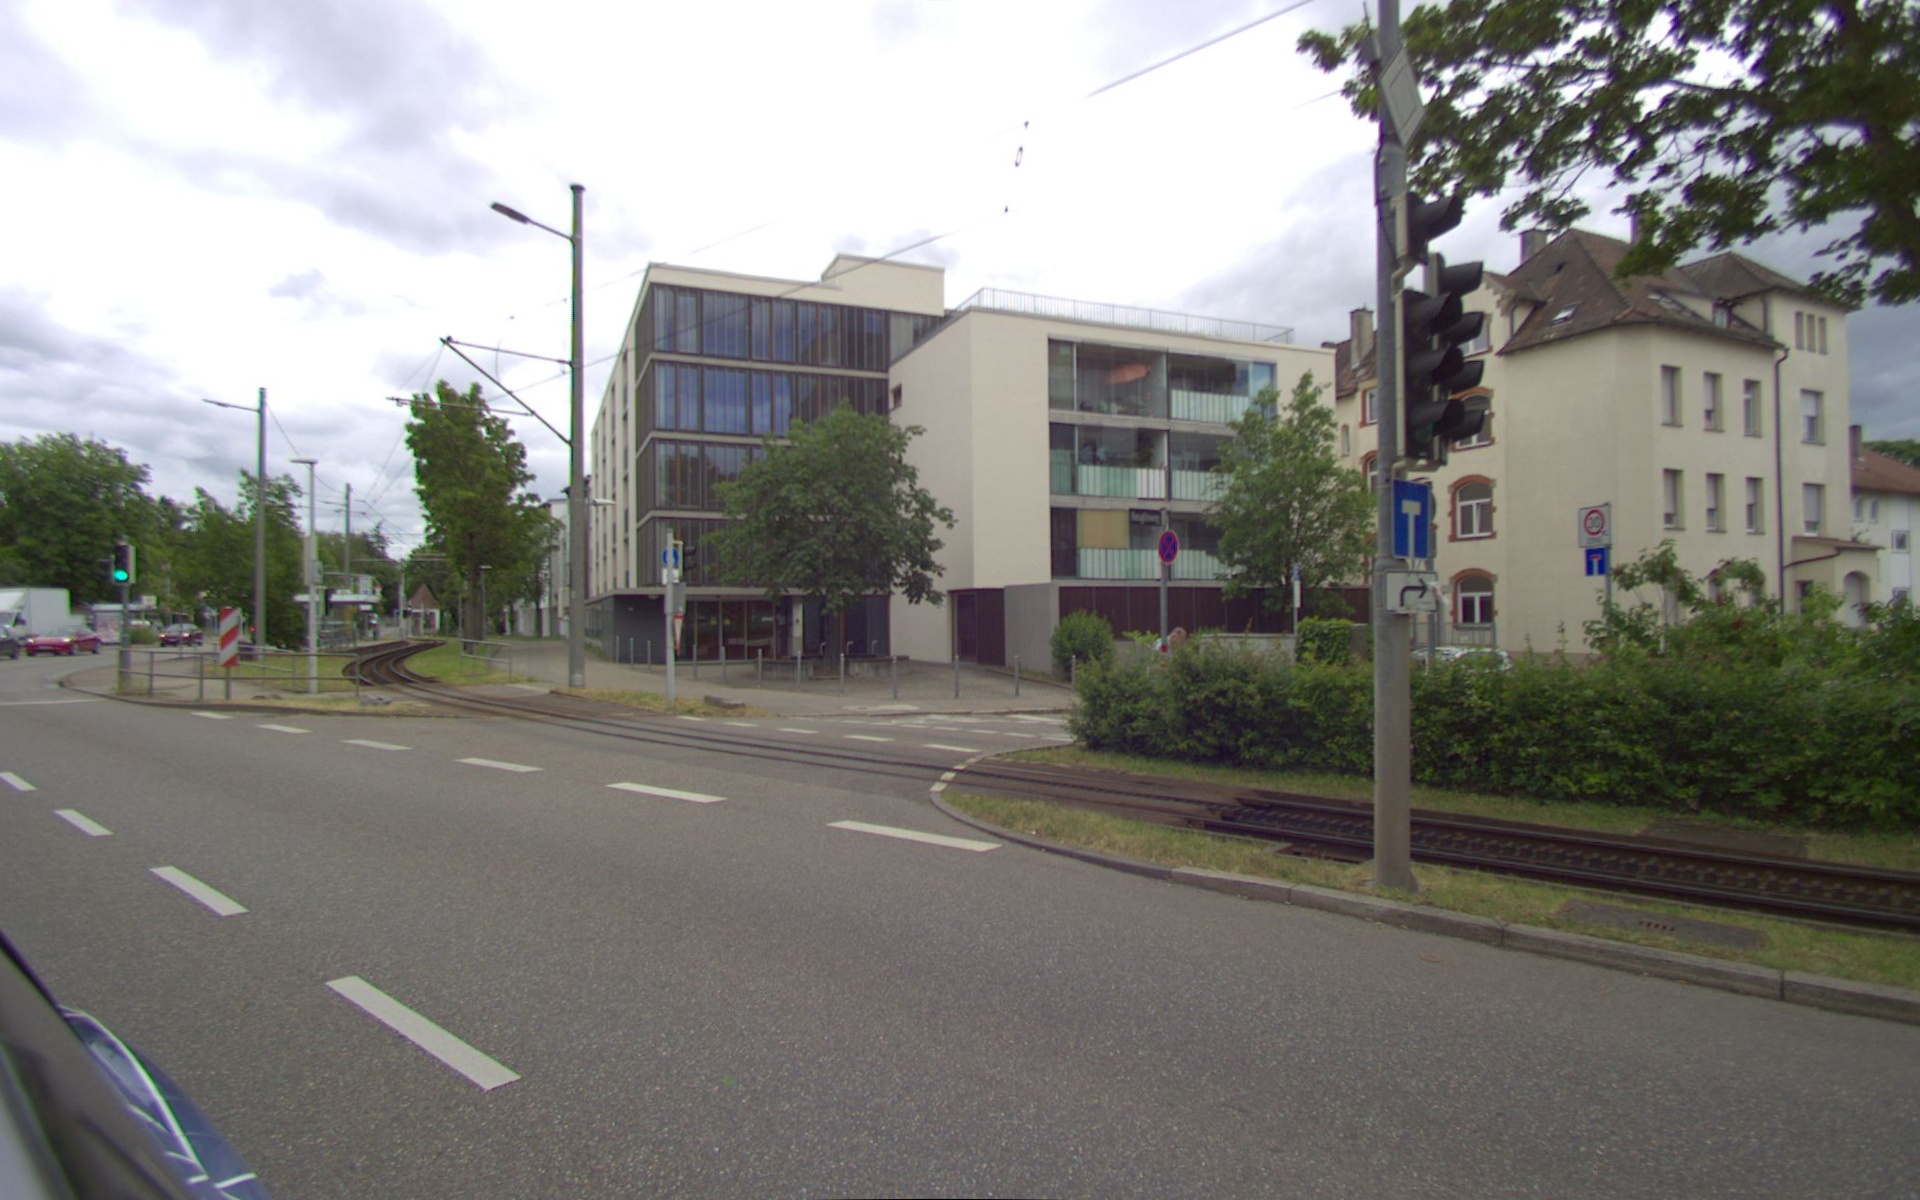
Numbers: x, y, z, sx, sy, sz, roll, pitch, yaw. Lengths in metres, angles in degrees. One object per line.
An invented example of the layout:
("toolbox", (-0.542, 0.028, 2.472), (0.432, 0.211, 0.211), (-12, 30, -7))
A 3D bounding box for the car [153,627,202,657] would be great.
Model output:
("car", (-52.639, 2.811, 68.141), (1.819, 1.875, 4.271), (0, -1, -27))

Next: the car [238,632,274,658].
("car", (-52.744, 3.351, 75.873), (1.657, 1.822, 4.365), (2, -2, -28))

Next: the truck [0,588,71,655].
("truck", (-52.122, 1.149, 55.624), (2.499, 3.452, 7.801), (0, -1, -23))

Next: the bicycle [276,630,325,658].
("bicycle", (-27.921, 1.859, 42.853), (1.682, 1.097, 0.409), (-2, -1, -36))

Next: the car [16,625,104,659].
("car", (-43.649, 2.057, 49.188), (1.819, 1.546, 4.013), (2, -3, -21))

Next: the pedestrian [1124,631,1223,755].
("pedestrian", (2.786, 1.175, 13.212), (0.995, 1.538, 0.839), (-1, -3, 40))

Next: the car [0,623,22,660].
("car", (-41.418, 1.767, 42.606), (1.819, 1.546, 4.013), (0, -1, -27))

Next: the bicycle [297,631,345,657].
("bicycle", (-28.075, 1.922, 44.488), (1.724, 1.054, 0.409), (-2, -1, -21))
